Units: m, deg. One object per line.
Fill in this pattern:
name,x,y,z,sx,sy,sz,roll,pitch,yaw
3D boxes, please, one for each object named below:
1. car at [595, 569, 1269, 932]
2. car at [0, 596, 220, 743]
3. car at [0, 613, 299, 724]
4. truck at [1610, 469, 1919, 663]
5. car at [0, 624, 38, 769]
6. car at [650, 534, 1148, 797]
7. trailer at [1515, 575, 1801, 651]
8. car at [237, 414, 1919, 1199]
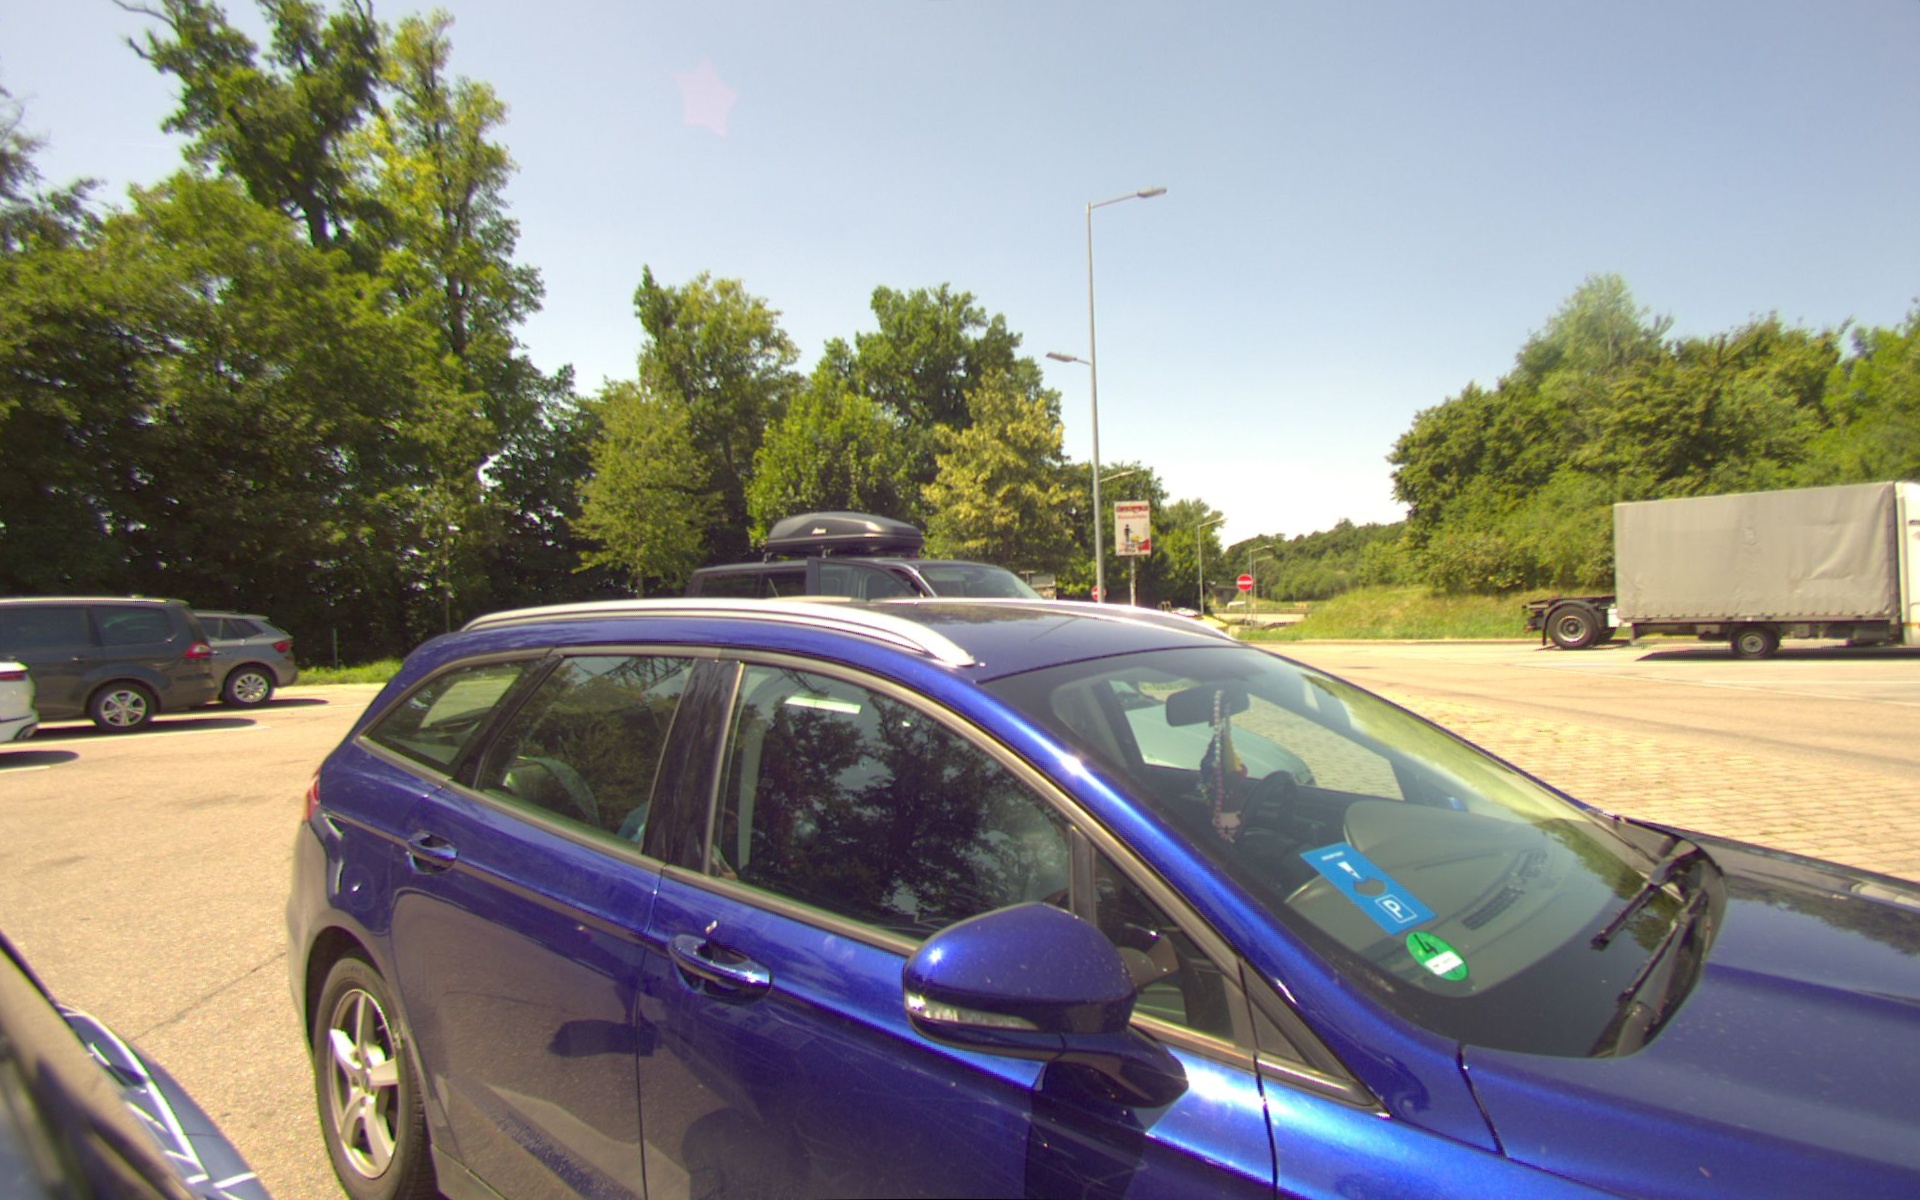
car,-0.363,0.647,5.804,3.739,1.424,1.587,-2,-1,40
car,-11.712,0.831,12.584,3.830,1.703,1.883,0,-2,-45
car,-12.608,0.969,15.624,3.753,1.488,1.743,0,-1,-45
truck,16.712,-0.612,18.843,7.308,3.258,2.294,-5,-2,43
car,-10.958,0.938,9.196,3.753,1.377,1.804,0,-1,-45
car,-0.730,0.532,9.414,4.426,1.875,2.022,-2,-1,40
trailer,16.333,0.354,23.916,5.393,1.608,1.576,-2,-1,41
car,0.241,0.647,2.082,4.427,1.455,1.763,-2,-1,40
